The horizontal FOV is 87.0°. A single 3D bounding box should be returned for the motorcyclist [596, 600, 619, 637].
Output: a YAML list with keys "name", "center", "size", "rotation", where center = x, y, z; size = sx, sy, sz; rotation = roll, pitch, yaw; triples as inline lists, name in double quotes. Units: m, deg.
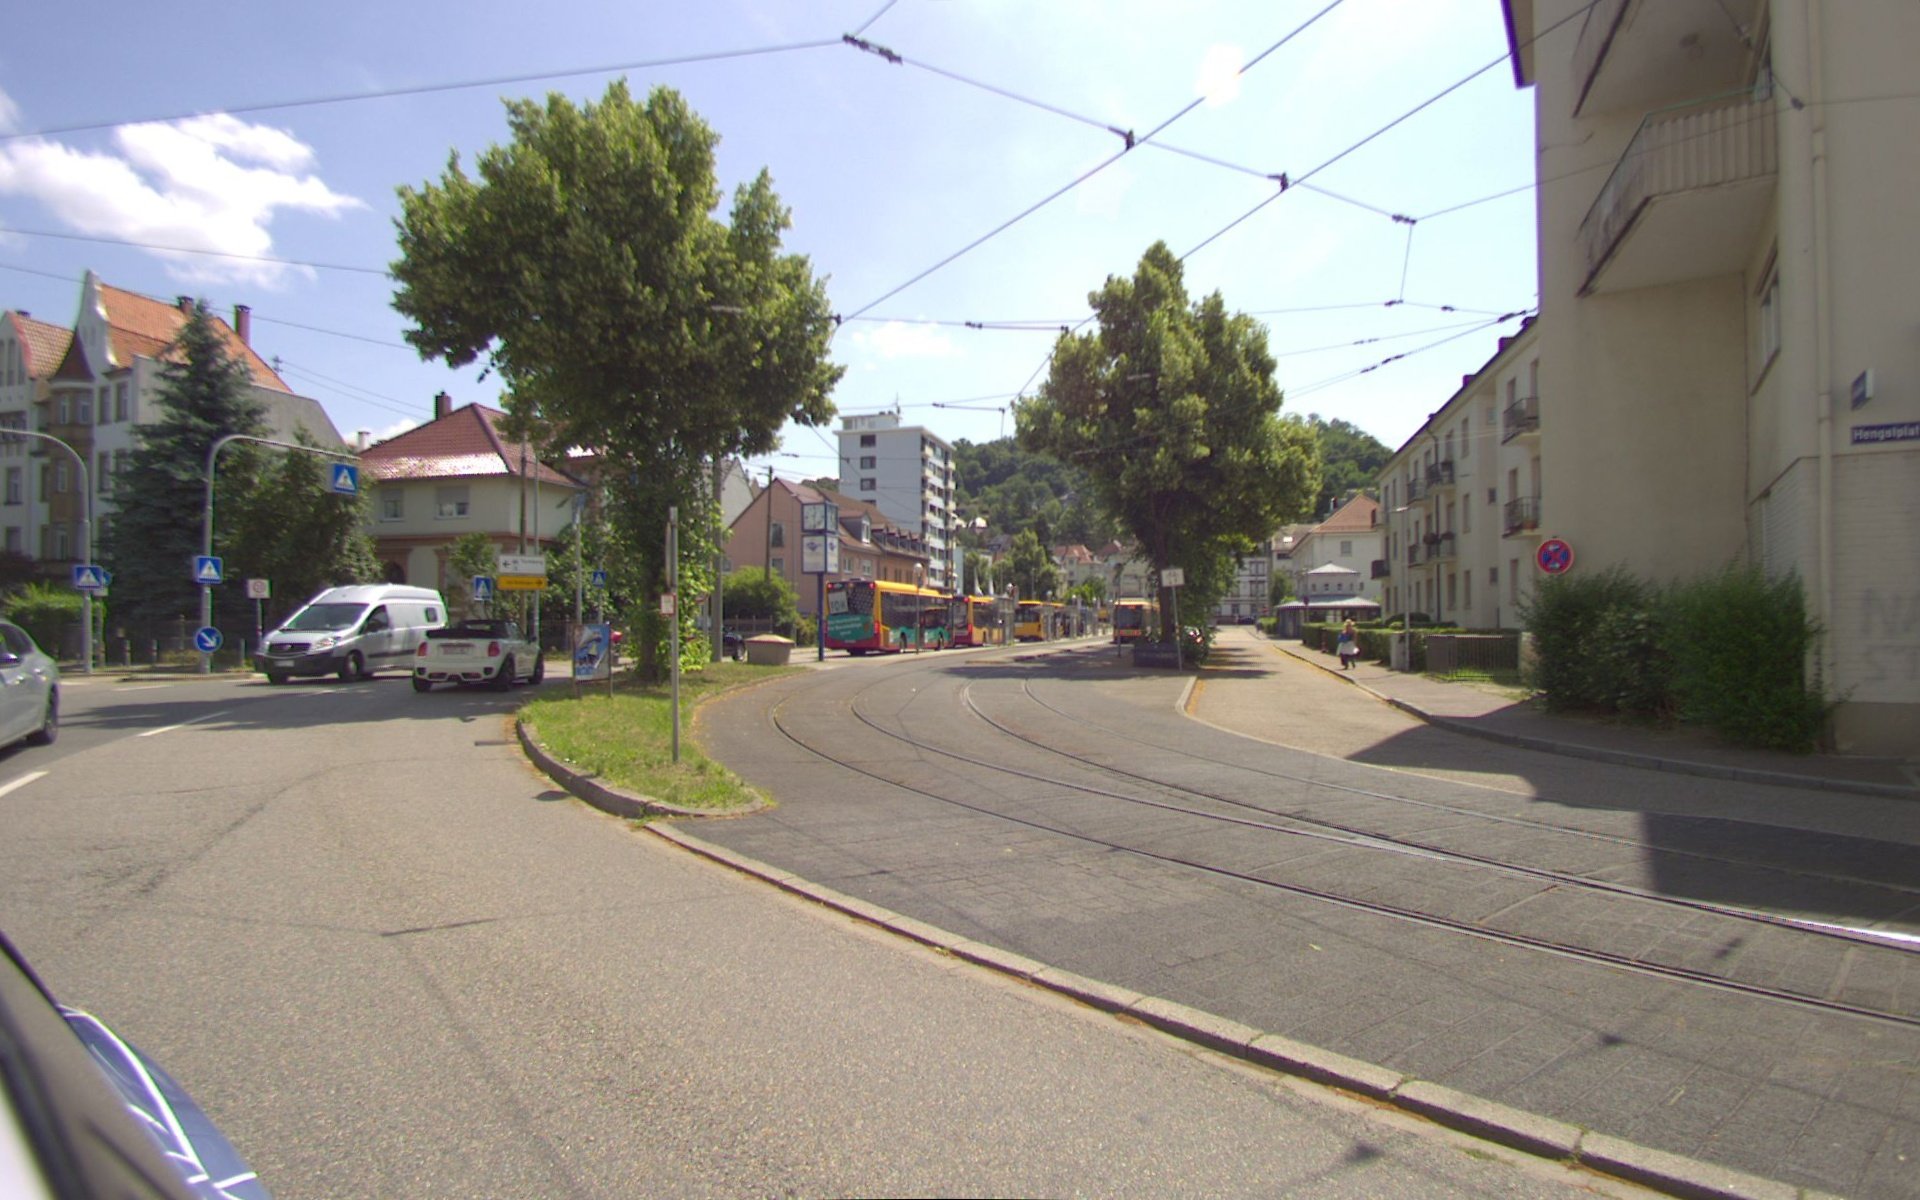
- name: "motorcyclist"
  center: [-12.309, 0.646, 35.381]
  size: [0.538, 1.252, 0.550]
  rotation: [-1, -1, 25]

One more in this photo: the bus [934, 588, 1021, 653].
- name: "bus"
  center: [1.311, 1.261, 62.680]
  size: [2.672, 3.635, 12.150]
  rotation: [-1, -1, 14]

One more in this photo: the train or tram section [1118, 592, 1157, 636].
- name: "train or tram section"
  center: [15.994, 1.234, 90.311]
  size: [2.869, 3.547, 13.848]
  rotation: [-1, -1, 12]

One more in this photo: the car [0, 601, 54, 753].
- name: "car"
  center: [-10.228, 0.758, 9.581]
  size: [1.772, 1.477, 4.183]
  rotation: [0, 0, -32]

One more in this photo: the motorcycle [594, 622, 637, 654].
- name: "motorcycle"
  center: [-12.178, 1.334, 35.795]
  size: [0.665, 1.066, 1.424]
  rotation: [-1, -1, 25]

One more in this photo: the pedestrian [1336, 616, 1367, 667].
- name: "pedestrian"
  center: [12.438, 1.310, 32.168]
  size: [0.769, 1.571, 0.741]
  rotation: [-1, -1, 13]

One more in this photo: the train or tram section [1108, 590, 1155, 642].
- name: "train or tram section"
  center: [13.129, 1.178, 76.771]
  size: [2.869, 3.547, 13.848]
  rotation: [-1, -1, 12]

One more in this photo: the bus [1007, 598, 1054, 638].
- name: "bus"
  center: [6.069, 1.538, 85.392]
  size: [2.550, 3.213, 10.115]
  rotation: [-1, -1, 12]

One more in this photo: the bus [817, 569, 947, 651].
- name: "bus"
  center: [-3.297, 0.564, 46.669]
  size: [2.682, 3.322, 10.808]
  rotation: [-1, -2, 14]

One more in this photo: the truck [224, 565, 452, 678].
- name: "truck"
  center: [-14.072, 0.530, 23.394]
  size: [1.993, 2.266, 5.407]
  rotation: [-1, -2, 0]

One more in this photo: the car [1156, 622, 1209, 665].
- name: "car"
  center: [8.389, 1.611, 38.209]
  size: [1.826, 1.493, 3.940]
  rotation: [-1, -1, 13]

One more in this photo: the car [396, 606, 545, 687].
- name: "car"
  center: [-9.749, 0.881, 20.462]
  size: [1.750, 1.475, 3.755]
  rotation: [1, -1, -10]

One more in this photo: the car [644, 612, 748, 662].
- name: "car"
  center: [-9.233, 1.304, 35.744]
  size: [1.843, 1.644, 4.312]
  rotation: [0, -2, 11]
